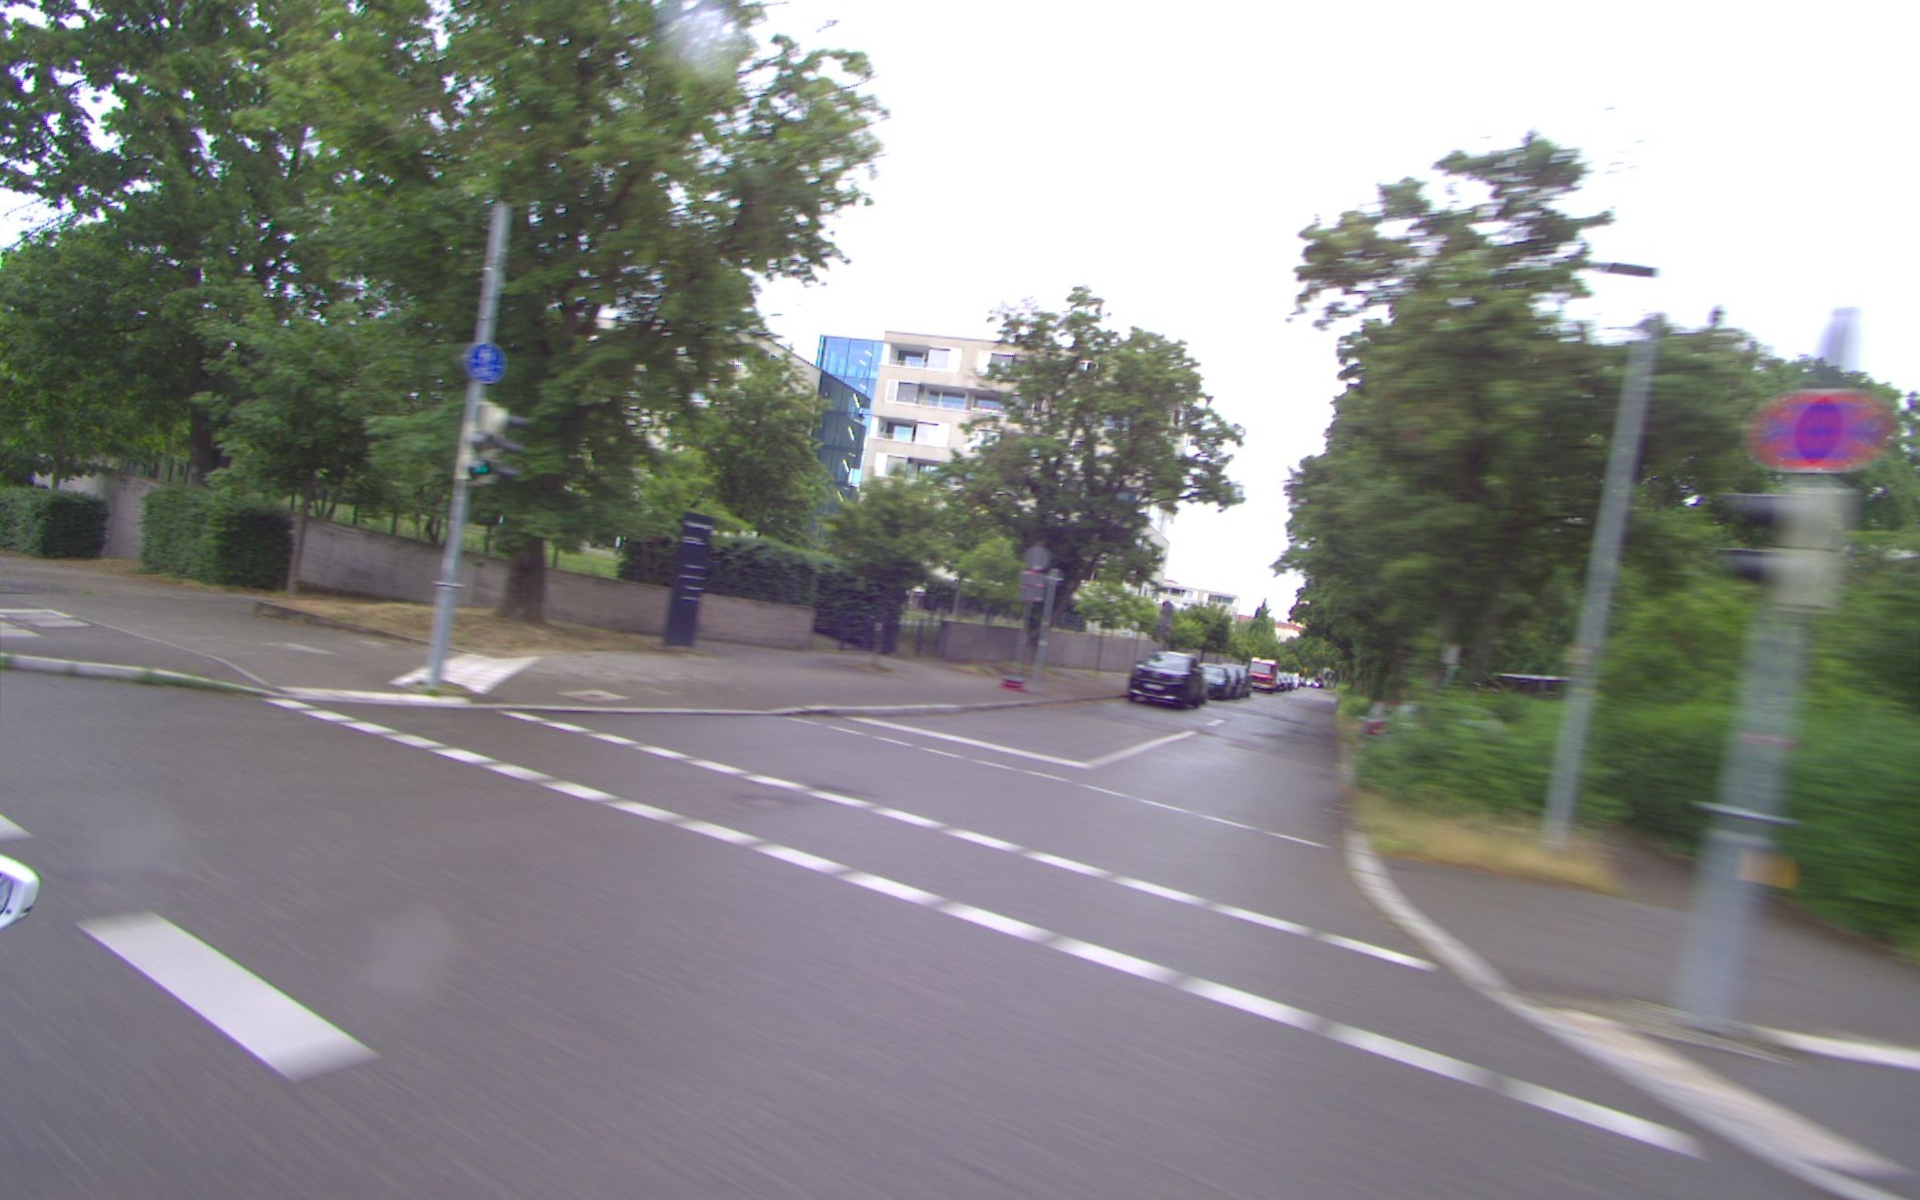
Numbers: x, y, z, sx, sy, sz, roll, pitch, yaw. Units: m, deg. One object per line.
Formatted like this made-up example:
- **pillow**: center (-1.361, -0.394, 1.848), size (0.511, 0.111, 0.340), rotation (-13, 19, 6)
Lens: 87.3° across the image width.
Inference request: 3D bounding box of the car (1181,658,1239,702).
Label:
- **car**: center (10.803, 3.441, 43.216), size (1.752, 1.547, 4.002), rotation (7, -2, 22)

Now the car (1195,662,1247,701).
- **car**: center (12.404, 3.843, 47.606), size (1.752, 1.547, 4.002), rotation (7, -2, 22)

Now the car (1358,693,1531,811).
- **car**: center (8.350, 2.555, 17.729), size (1.795, 1.551, 4.007), rotation (7, -3, 14)

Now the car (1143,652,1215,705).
- **car**: center (7.900, 2.814, 36.031), size (1.752, 1.547, 4.002), rotation (7, -2, 22)

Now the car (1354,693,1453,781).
- **car**: center (9.856, 2.974, 22.591), size (1.724, 1.515, 4.002), rotation (7, -2, 22)

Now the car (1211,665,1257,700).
- **car**: center (14.528, 4.351, 53.140), size (1.752, 1.547, 4.002), rotation (7, -2, 22)

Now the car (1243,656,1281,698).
- **car**: center (21.797, 5.579, 72.509), size (1.944, 2.715, 5.133), rotation (7, -2, 22)
